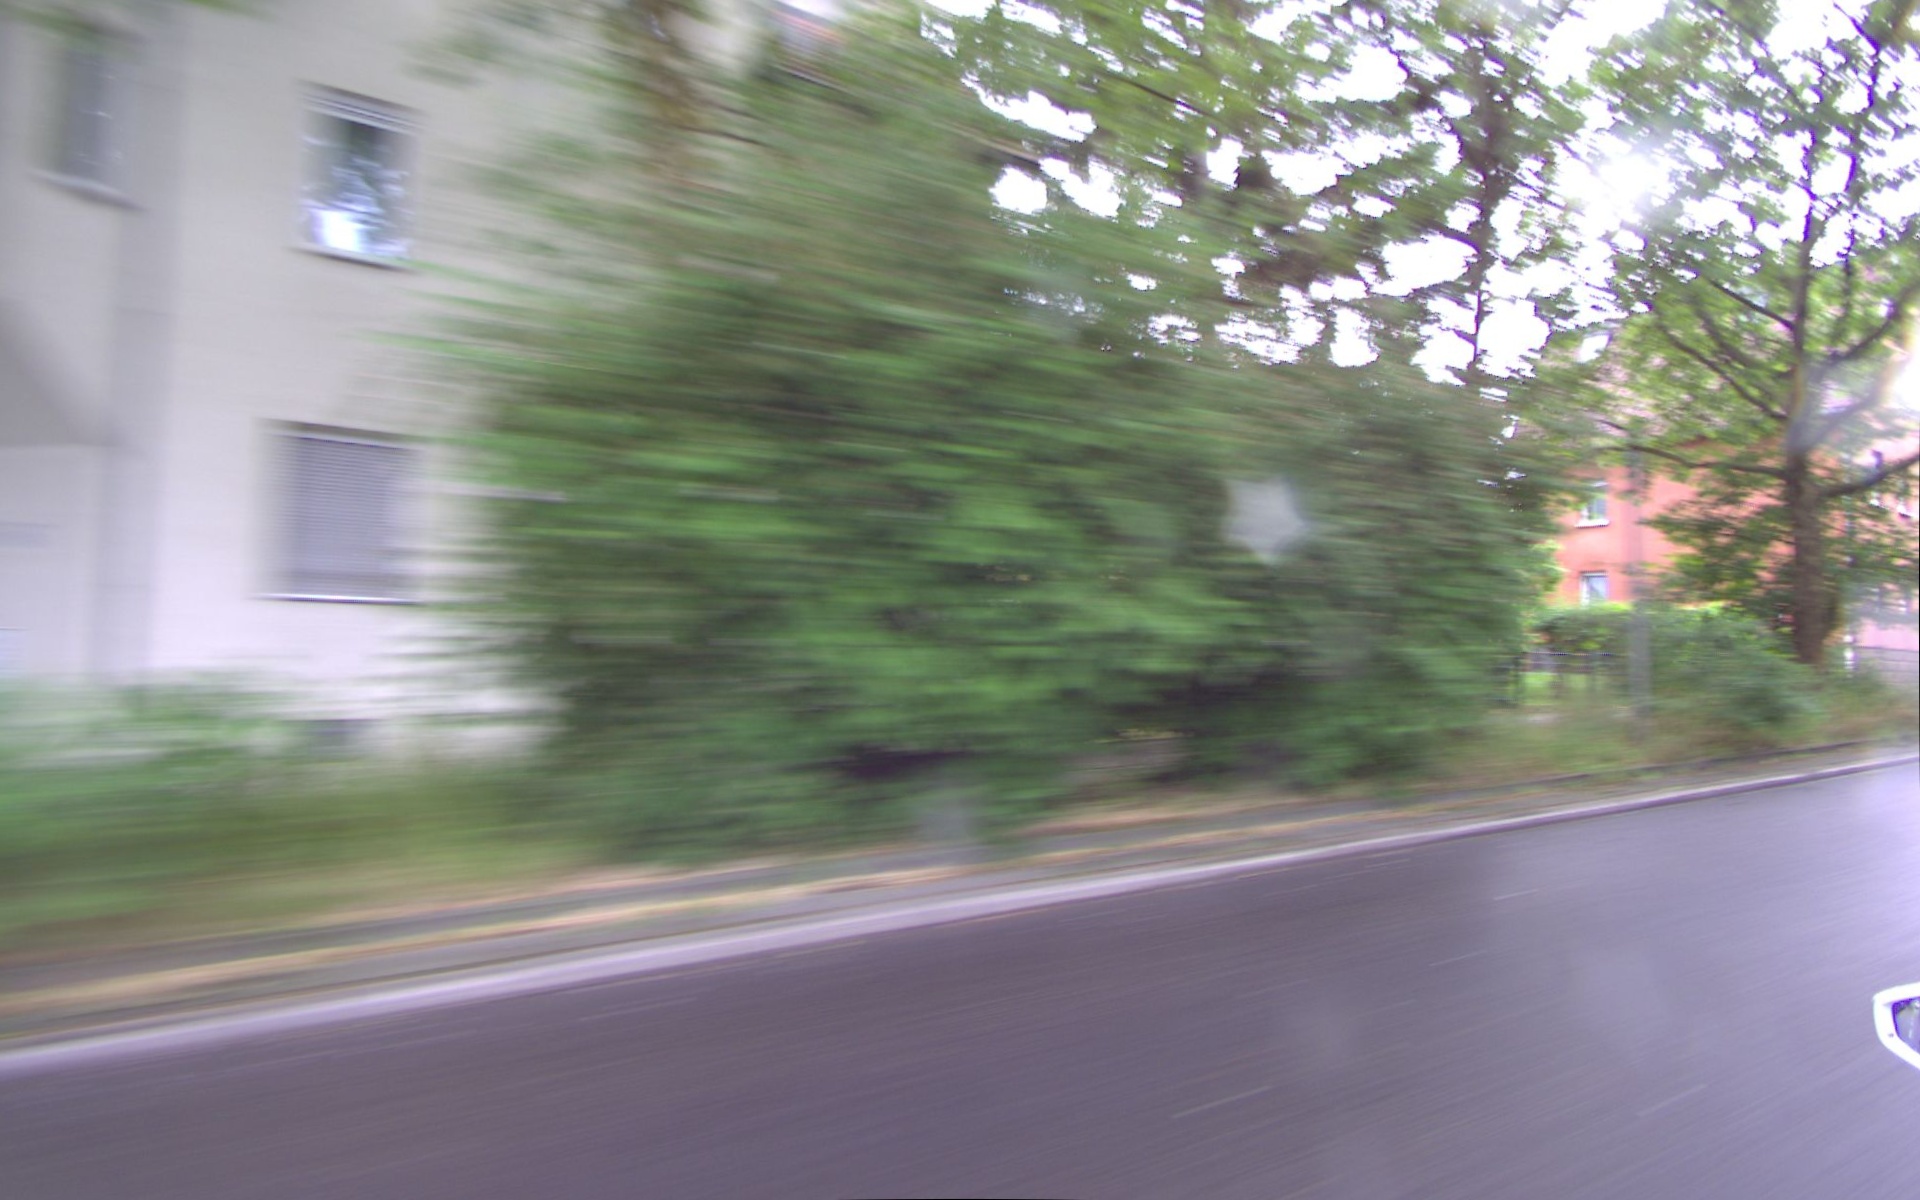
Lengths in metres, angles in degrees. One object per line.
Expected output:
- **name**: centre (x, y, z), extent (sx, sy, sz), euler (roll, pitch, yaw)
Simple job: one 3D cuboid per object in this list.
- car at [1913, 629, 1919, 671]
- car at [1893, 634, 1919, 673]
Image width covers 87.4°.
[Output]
- **car**: centre (40.490, 1.991, 39.364), extent (1.974, 1.720, 4.136), euler (1, -2, -26)
- **car**: centre (38.225, 2.019, 37.714), extent (2.044, 1.482, 4.270), euler (1, -2, -29)
